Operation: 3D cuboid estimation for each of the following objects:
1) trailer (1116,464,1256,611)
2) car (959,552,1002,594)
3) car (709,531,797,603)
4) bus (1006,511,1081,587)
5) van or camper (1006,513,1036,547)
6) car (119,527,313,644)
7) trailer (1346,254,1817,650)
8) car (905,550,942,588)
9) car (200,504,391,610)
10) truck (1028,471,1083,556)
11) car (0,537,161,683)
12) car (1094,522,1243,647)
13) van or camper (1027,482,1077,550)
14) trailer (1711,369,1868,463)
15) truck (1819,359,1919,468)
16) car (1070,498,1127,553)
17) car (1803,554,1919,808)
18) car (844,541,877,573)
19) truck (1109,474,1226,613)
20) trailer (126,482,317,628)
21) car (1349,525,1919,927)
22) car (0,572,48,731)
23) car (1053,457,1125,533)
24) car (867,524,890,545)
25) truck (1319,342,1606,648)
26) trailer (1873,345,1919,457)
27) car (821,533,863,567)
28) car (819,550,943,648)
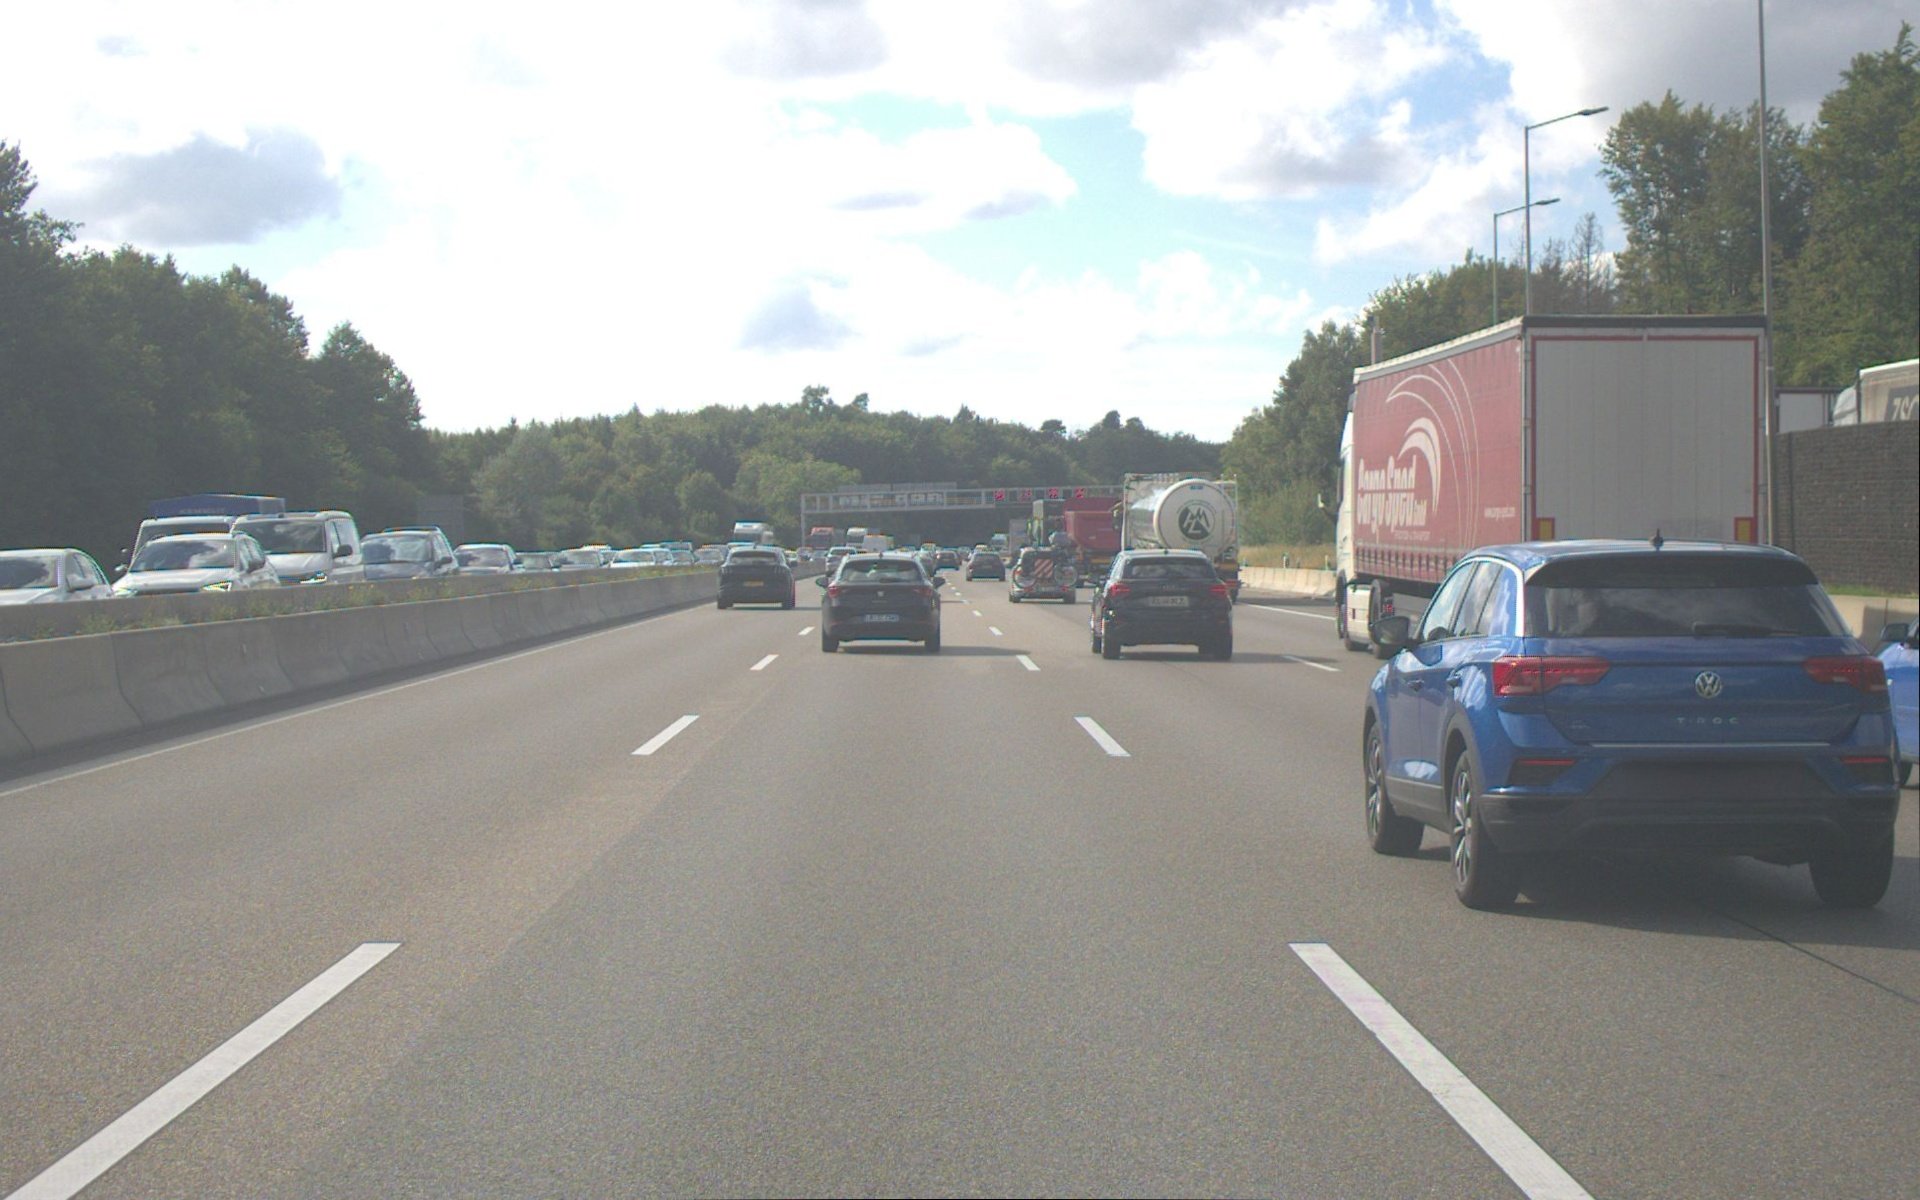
[{"bbox_3d":[6.477,-1.704,100.329,3.036,4.002,12.245,0,0,-1],"label":"trailer"},{"bbox_3d":[1.002,-1.295,167.545,1.993,2.007,4.000,1,0,-1],"label":"car"},{"bbox_3d":[-5.253,-0.856,87.819,1.993,1.770,4.000,-1,1,0],"label":"car"},{"bbox_3d":[2.331,-1.409,96.976,1.993,2.007,4.000,1,-1,0],"label":"bus"},{"bbox_3d":[4.497,-5.120,253.241,2.083,2.484,4.225,0,1,-1],"label":"van or camper"},{"bbox_3d":[-10.533,-0.229,48.951,1.765,1.567,4.357,1,1,0],"label":"car"},{"bbox_3d":[7.150,-1.419,42.165,3.038,4.021,13.890,1,-1,-1],"label":"trailer"},{"bbox_3d":[-2.043,-1.732,192.938,1.993,2.007,4.000,-1,-1,-1],"label":"car"},{"bbox_3d":[-10.731,-0.713,55.921,1.993,1.567,5.329,2,1,0],"label":"car"},{"bbox_3d":[4.511,-4.066,164.162,2.358,3.560,11.265,1,-1,1],"label":"truck"},{"bbox_3d":[-10.768,0.067,39.744,1.993,1.567,4.357,1,1,0],"label":"car"},{"bbox_3d":[2.877,-0.205,48.147,1.799,1.639,4.000,1,0,0],"label":"car"},{"bbox_3d":[4.571,-4.175,171.143,2.351,3.133,5.710,1,-1,1],"label":"van or camper"},{"bbox_3d":[19.858,-4.372,82.636,2.130,2.007,6.322,-1,1,-1],"label":"trailer"},{"bbox_3d":[19.725,-3.905,72.655,2.045,2.007,4.096,1,-1,-1],"label":"truck"},{"bbox_3d":[5.459,-2.925,136.003,1.993,2.007,4.000,1,-1,-1],"label":"car"},{"bbox_3d":[6.531,0.470,20.436,1.715,1.506,4.302,-1,0,-4],"label":"car"},{"bbox_3d":[-6.296,-2.737,217.392,1.993,2.007,4.001,1,1,-3],"label":"car"},{"bbox_3d":[6.363,-1.694,106.602,3.045,4.146,7.127,0,0,-1],"label":"truck"},{"bbox_3d":[-14.914,-0.904,69.981,2.278,2.776,8.542,1,1,-2],"label":"trailer"},{"bbox_3d":[3.006,0.475,15.763,1.924,1.536,4.645,1,0,0],"label":"car"},{"bbox_3d":[-10.565,0.507,34.249,1.993,1.567,3.511,1,1,0],"label":"car"},{"bbox_3d":[5.433,-4.430,145.874,2.866,2.981,5.149,1,-1,1],"label":"car"},{"bbox_3d":[-6.102,-4.909,257.343,1.623,1.465,3.814,1,0,0],"label":"car"},{"bbox_3d":[7.033,-1.358,48.956,3.080,4.050,6.069,1,-1,-1],"label":"truck"},{"bbox_3d":[19.831,-3.977,67.639,2.045,2.007,6.006,1,-1,-1],"label":"trailer"},{"bbox_3d":[-6.485,-2.743,189.770,2.154,1.770,4.000,1,0,0],"label":"car"},{"bbox_3d":[-1.166,-0.012,50.934,1.734,1.360,4.000,1,0,-1],"label":"car"}]
